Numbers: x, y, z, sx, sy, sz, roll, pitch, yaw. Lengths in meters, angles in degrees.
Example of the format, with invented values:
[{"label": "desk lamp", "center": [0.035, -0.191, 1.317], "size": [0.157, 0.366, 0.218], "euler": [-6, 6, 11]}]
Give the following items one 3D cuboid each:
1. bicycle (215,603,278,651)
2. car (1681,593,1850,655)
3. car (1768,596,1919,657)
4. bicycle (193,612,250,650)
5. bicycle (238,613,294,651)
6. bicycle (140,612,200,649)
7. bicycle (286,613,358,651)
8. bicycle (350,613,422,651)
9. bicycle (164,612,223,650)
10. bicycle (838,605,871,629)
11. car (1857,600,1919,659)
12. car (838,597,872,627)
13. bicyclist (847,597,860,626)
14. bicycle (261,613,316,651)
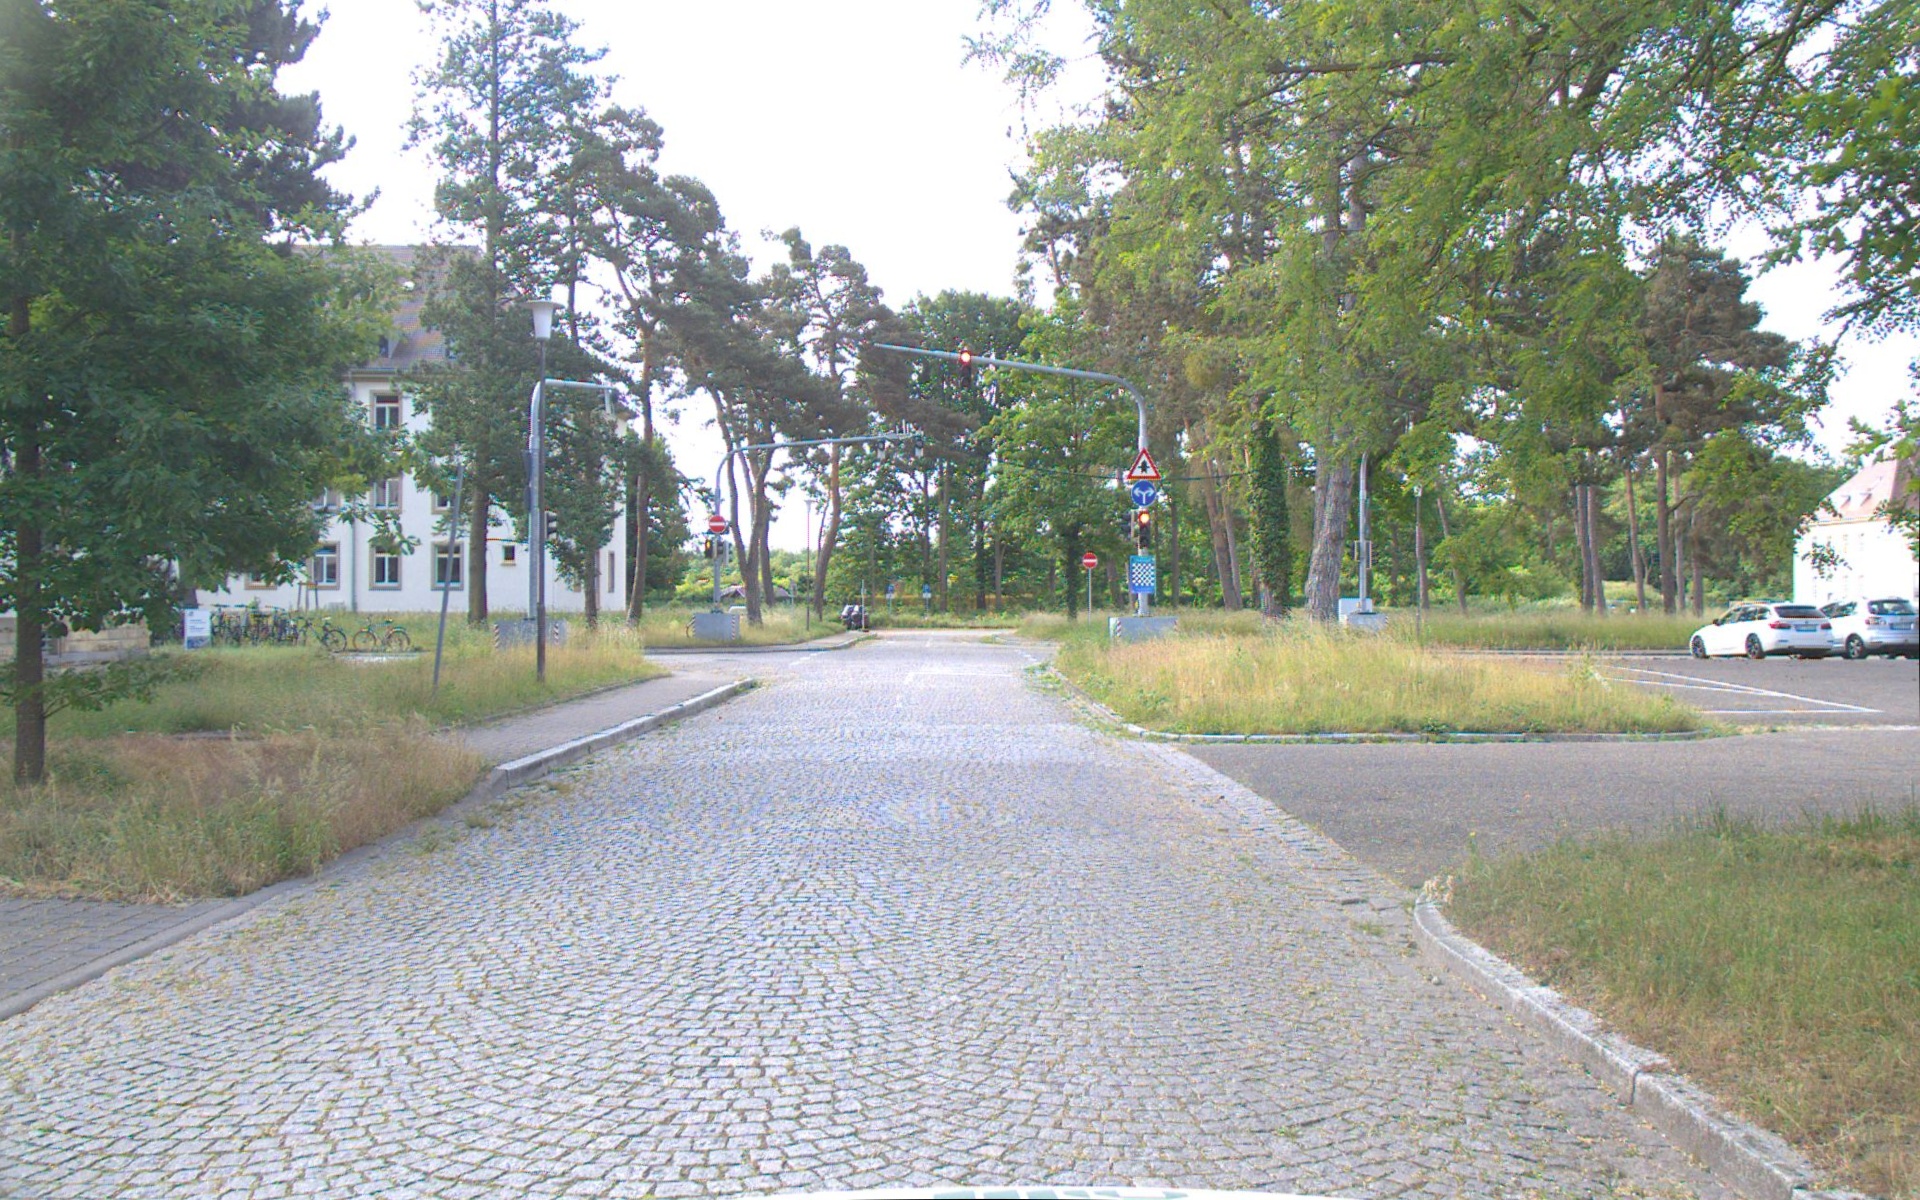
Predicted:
[{"label": "bicycle", "center": [-21.493, 0.795, 49.869], "size": [0.721, 1.410, 2.711], "euler": [0, 0, 0]}, {"label": "car", "center": [20.759, 0.645, 42.849], "size": [1.954, 1.507, 4.421], "euler": [0, -2, -4]}, {"label": "car", "center": [23.224, 0.707, 43.067], "size": [1.954, 1.507, 4.421], "euler": [0, -2, -4]}, {"label": "bicycle", "center": [-22.280, 0.929, 49.966], "size": [0.721, 1.095, 2.273], "euler": [0, 0, 0]}, {"label": "bicycle", "center": [-20.758, 0.945, 49.525], "size": [0.721, 1.095, 2.273], "euler": [0, 0, 0]}, {"label": "bicycle", "center": [-23.627, 0.899, 49.523], "size": [0.721, 1.095, 2.273], "euler": [0, 0, 0]}, {"label": "bicycle", "center": [-18.655, 0.925, 48.387], "size": [1.818, 1.095, 0.738], "euler": [0, 0, 1]}, {"label": "bicycle", "center": [-16.804, 0.935, 48.455], "size": [1.818, 1.095, 0.831], "euler": [0, 0, 1]}, {"label": "bicycle", "center": [-22.908, 0.901, 49.463], "size": [0.721, 1.095, 2.273], "euler": [0, 0, 0]}, {"label": "bicycle", "center": [-6.328, 1.026, 98.979], "size": [1.930, 1.343, 0.518], "euler": [1, -1, -4]}, {"label": "car", "center": [25.835, 0.774, 43.401], "size": [1.954, 1.507, 4.421], "euler": [0, -2, -4]}, {"label": "car", "center": [-6.678, 0.752, 105.947], "size": [2.014, 1.878, 3.999], "euler": [0, 0, -2]}, {"label": "bicyclist", "center": [-6.381, 0.676, 98.982], "size": [0.734, 1.700, 0.526], "euler": [1, -1, -3]}, {"label": "bicycle", "center": [-20.130, 0.938, 49.615], "size": [0.721, 1.095, 2.273], "euler": [0, 0, 0]}]
